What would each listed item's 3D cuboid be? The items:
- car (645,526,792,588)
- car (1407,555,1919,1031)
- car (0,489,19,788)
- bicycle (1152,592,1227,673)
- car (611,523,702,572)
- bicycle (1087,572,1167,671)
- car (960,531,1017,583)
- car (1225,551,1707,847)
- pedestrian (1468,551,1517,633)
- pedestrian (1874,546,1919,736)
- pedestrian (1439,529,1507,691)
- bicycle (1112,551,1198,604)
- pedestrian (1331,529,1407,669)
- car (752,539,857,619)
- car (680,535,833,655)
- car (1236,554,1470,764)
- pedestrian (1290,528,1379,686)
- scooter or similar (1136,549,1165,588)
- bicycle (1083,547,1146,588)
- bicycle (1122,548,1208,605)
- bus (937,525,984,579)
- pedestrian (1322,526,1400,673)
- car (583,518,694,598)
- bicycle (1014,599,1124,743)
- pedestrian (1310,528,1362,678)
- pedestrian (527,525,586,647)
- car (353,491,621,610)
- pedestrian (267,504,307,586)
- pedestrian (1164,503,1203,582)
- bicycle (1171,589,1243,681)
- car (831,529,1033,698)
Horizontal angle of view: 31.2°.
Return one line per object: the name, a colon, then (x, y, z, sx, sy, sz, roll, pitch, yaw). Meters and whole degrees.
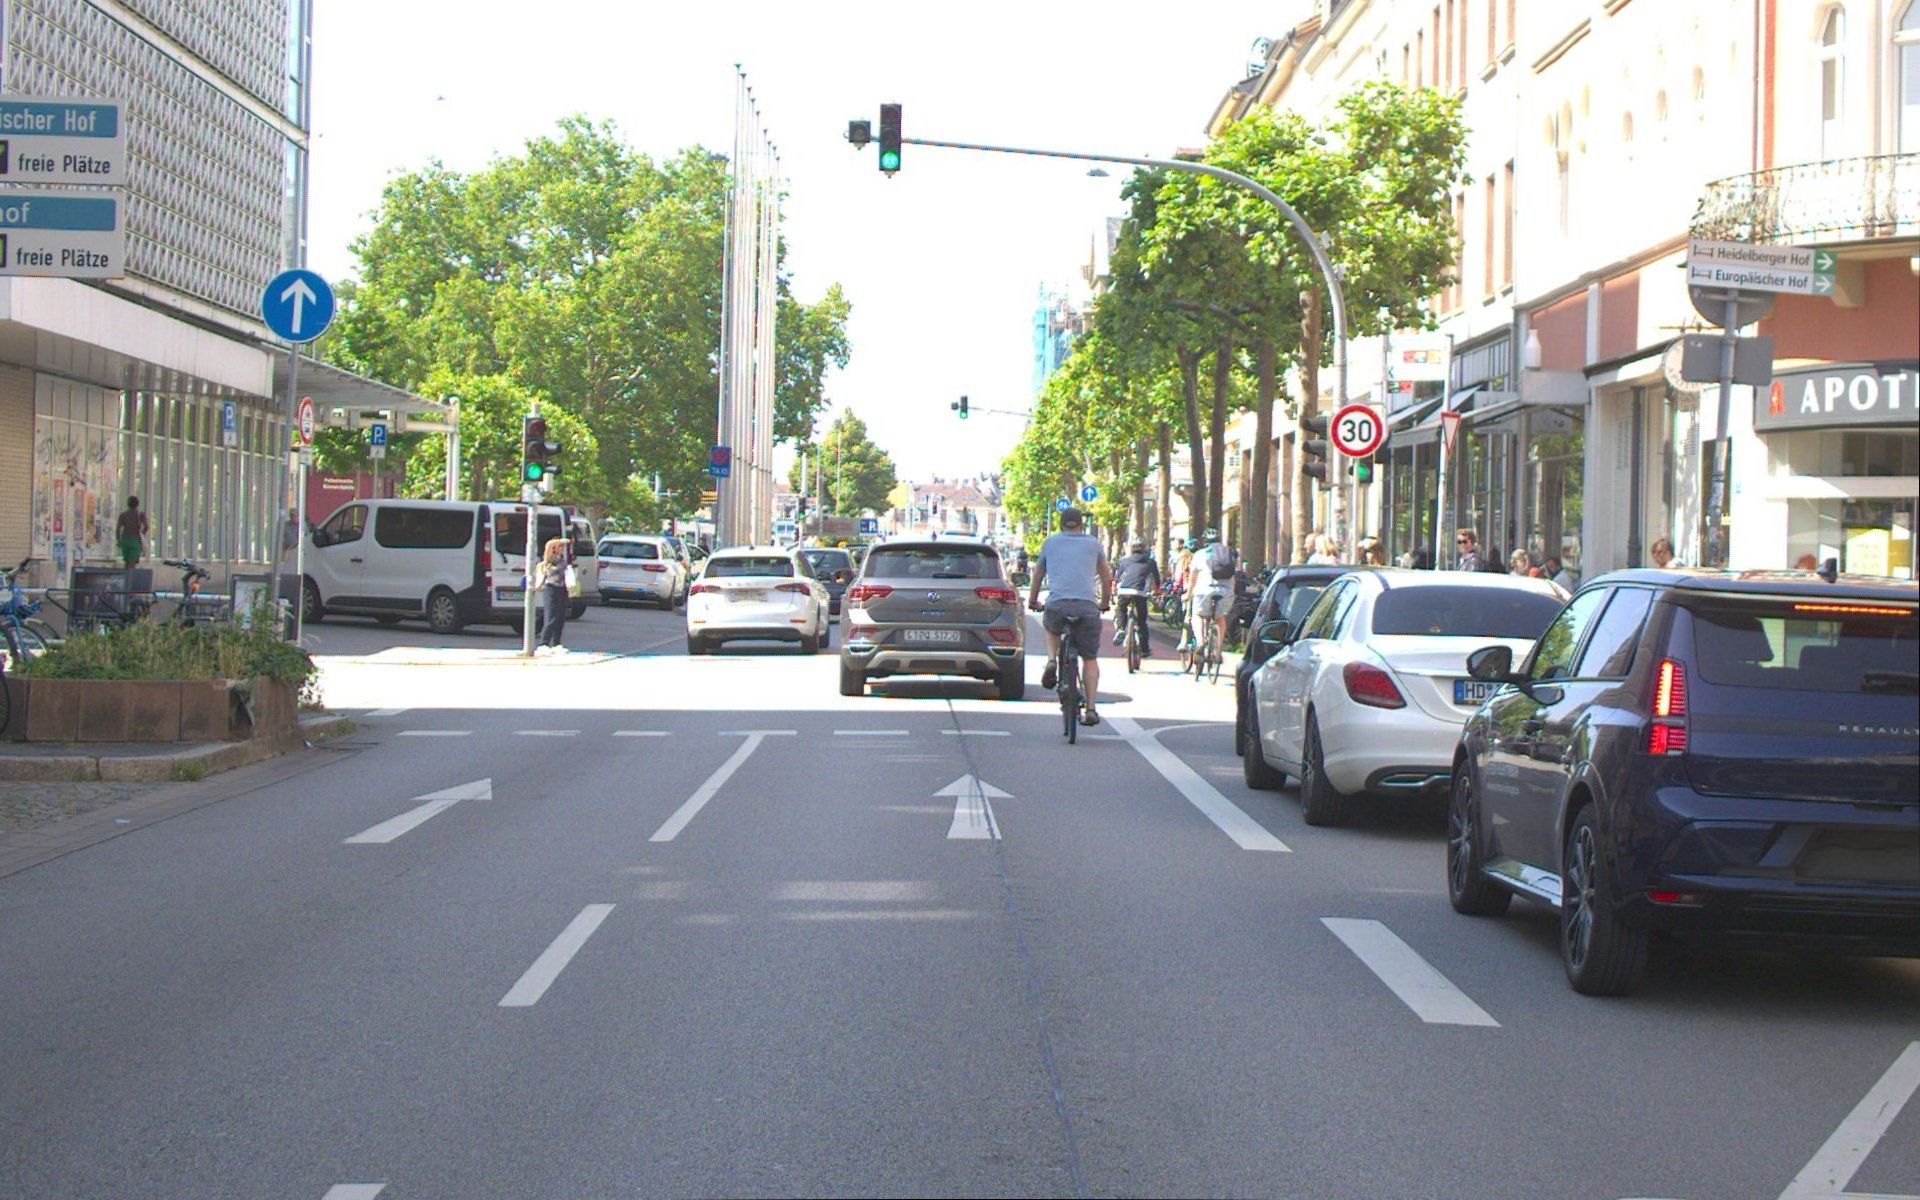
car: (-6.850, -1.241, 98.059, 1.894, 1.536, 4.855, -1, 2, 27)
car: (3.041, 0.647, 13.337, 1.886, 1.486, 4.290, 4, 0, -1)
car: (-7.308, 0.070, 18.255, 4.026, 1.597, 1.956, 4, 0, 23)
bicycle: (2.770, 0.385, 41.663, 0.600, 0.922, 2.088, 3, 0, -4)
car: (-12.742, -2.203, 144.587, 1.861, 1.948, 4.755, 2, 0, 21)
bicycle: (2.015, 0.246, 41.818, 0.698, 1.123, 2.082, 3, 1, -3)
car: (0.979, -1.513, 119.857, 1.845, 1.662, 4.000, 3, 1, 0)
car: (2.830, 0.483, 20.374, 1.952, 1.420, 4.887, 3, 1, -1)
pedestrian: (8.839, -0.136, 57.113, 0.681, 1.328, 0.532, 1, 1, -2)
pedestrian: (8.503, 0.353, 29.389, 0.900, 1.606, 0.976, 0, -2, -20)
pedestrian: (5.983, 0.115, 40.101, 0.639, 1.836, 0.614, 4, 0, 12)
bicycle: (4.434, -0.507, 78.107, 1.841, 1.123, 0.497, 3, 1, 11)
pedestrian: (5.038, -0.021, 42.383, 0.787, 1.685, 0.641, 2, 1, -2)
car: (-2.906, -0.422, 64.909, 1.845, 1.444, 4.000, 1, 1, -1)
car: (-2.754, -0.103, 47.264, 1.845, 1.554, 4.000, 1, 1, 0)
car: (3.132, 0.436, 26.874, 1.629, 1.473, 3.730, 2, 0, 9)
pedestrian: (4.271, 0.093, 39.266, 0.639, 1.703, 0.790, -8, -1, -4)
scooter or similar: (5.936, -0.987, 107.352, 0.420, 1.174, 1.232, 1, 1, -20)
bicycle: (4.677, -0.983, 104.166, 1.844, 1.197, 0.608, 2, 1, 3)
bicycle: (4.602, -0.528, 77.039, 1.840, 1.193, 0.673, 2, 1, 7)
bus: (-0.012, -3.276, 238.161, 2.995, 3.582, 11.745, 2, 0, -1)
pedestrian: (5.022, -0.015, 43.076, 0.787, 1.789, 0.641, 3, 1, -2)
car: (-6.617, -0.894, 71.196, 1.799, 1.518, 4.739, 2, 1, 0)
bicycle: (0.825, 0.525, 26.614, 0.774, 1.002, 2.329, 1, 1, 0)
pedestrian: (4.552, 0.031, 41.616, 0.452, 1.789, 0.608, 3, 1, -2)
pedestrian: (-5.274, -0.186, 44.955, 0.639, 1.554, 0.681, 3, 1, -12)
car: (-8.236, -0.874, 59.700, 4.441, 1.903, 2.005, 3, 2, 37)
pedestrian: (-12.948, -1.062, 66.144, 0.678, 1.554, 0.641, 1, 1, -5)
pedestrian: (4.943, -1.276, 76.063, 0.639, 1.683, 0.843, 4, 2, -2)
bicycle: (2.790, 0.387, 39.034, 0.630, 0.976, 2.089, 1, 1, -1)
car: (-0.331, 0.085, 33.946, 1.845, 1.554, 4.001, 0, 1, -2)
